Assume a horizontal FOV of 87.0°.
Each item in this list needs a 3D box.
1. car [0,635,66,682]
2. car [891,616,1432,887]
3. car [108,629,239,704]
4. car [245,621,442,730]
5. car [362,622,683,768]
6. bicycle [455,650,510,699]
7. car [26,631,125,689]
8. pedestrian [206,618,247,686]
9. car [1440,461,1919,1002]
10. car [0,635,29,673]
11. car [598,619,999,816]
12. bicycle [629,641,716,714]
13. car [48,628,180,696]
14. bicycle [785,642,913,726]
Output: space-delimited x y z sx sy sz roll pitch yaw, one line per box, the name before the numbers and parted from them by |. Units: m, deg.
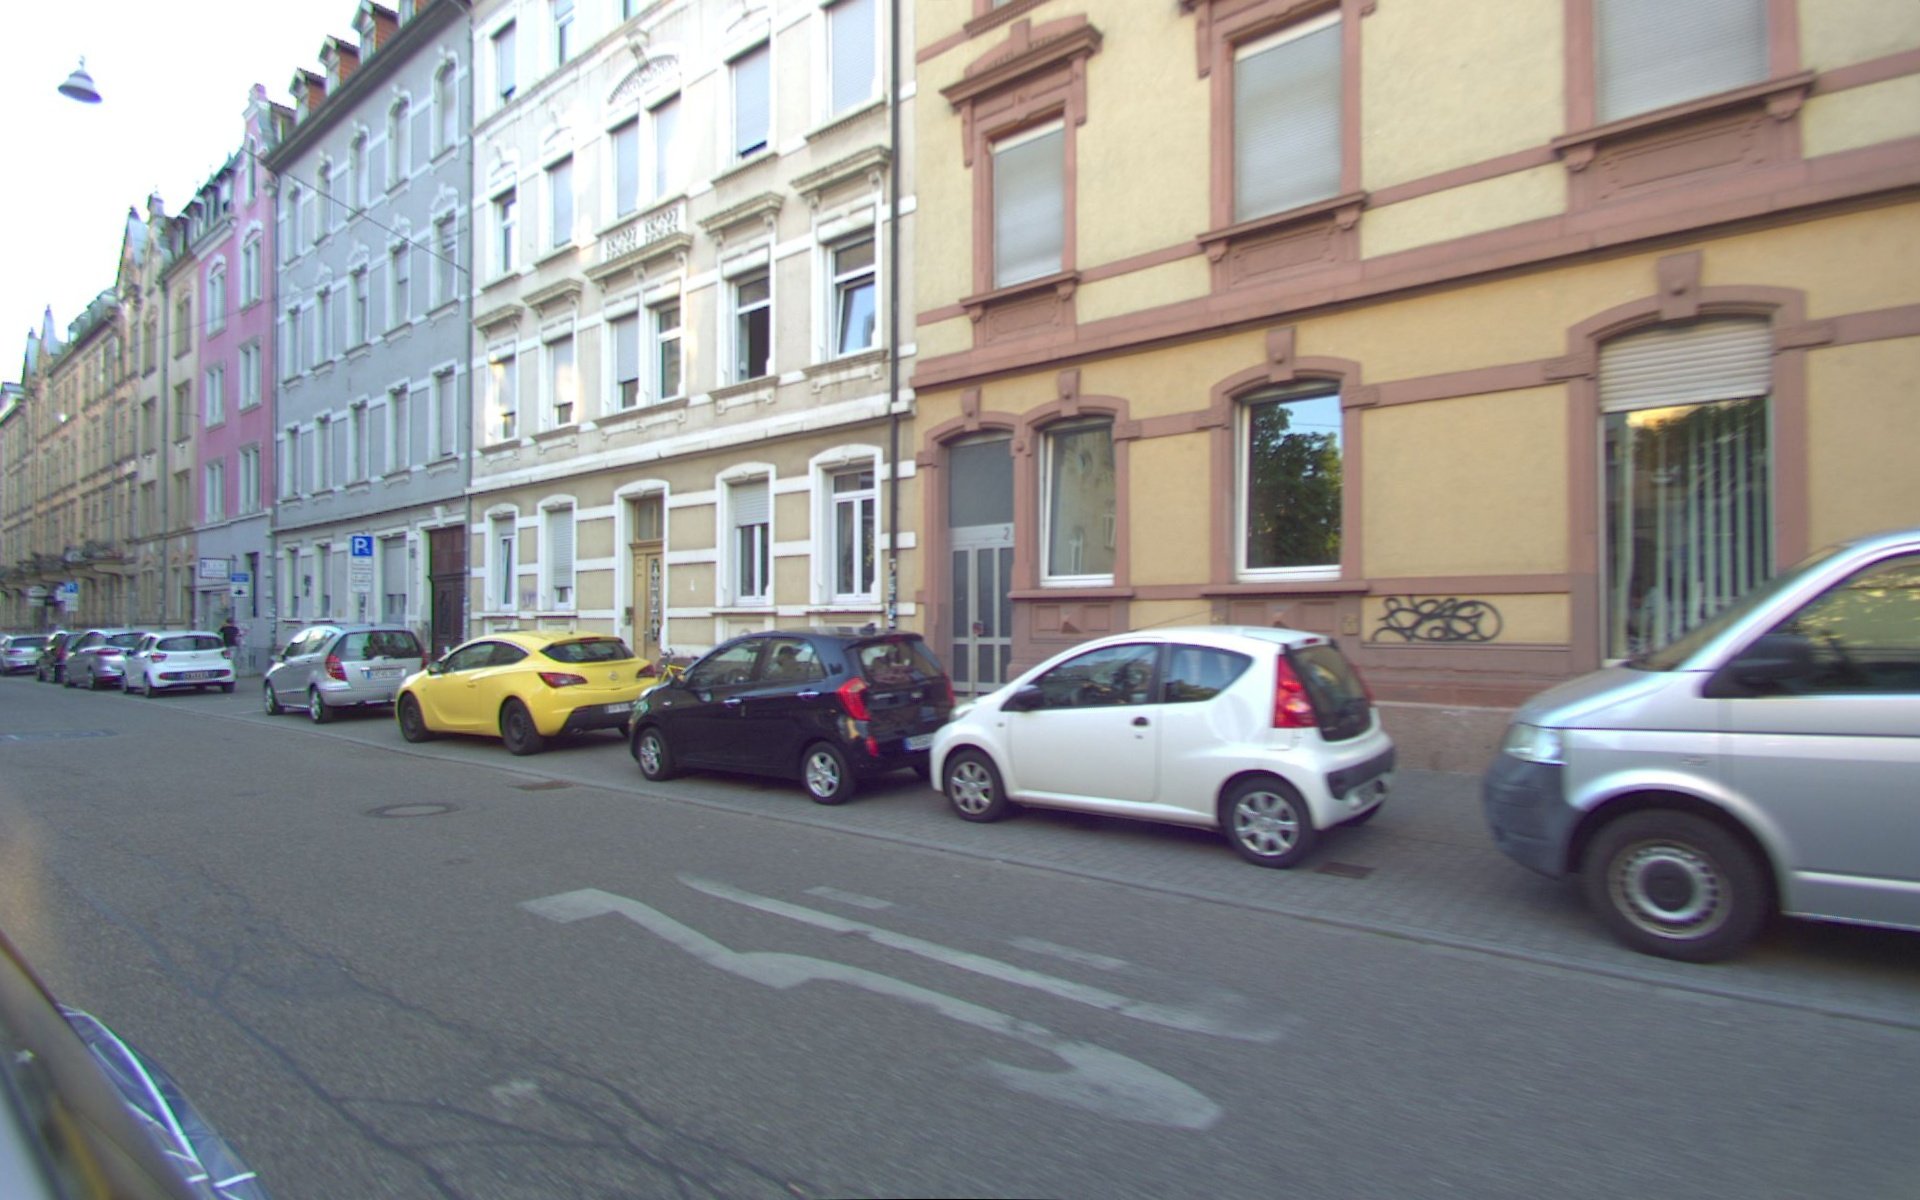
car | -34.983 2.153 37.833 4.055 1.485 1.735 -2 3 42
car | 1.373 0.916 7.587 3.610 1.502 1.667 -2 0 40
car | -19.065 1.540 24.484 3.925 1.588 1.735 -2 0 41
car | -10.795 1.229 17.613 4.144 1.604 1.781 -2 0 42
car | -5.918 1.133 13.398 4.795 1.537 1.821 -2 0 38
bicycle | -10.089 1.567 21.386 1.463 0.984 0.396 -2 -5 38
car | -27.790 1.844 31.769 4.054 1.604 1.735 -2 0 40
pedestrian | -21.608 1.516 29.810 0.834 1.964 0.840 -2 -2 44
car | 4.931 0.469 4.110 5.002 2.072 2.020 -2 0 41
car | -41.848 2.359 43.756 4.276 1.485 1.736 -2 3 40
car | -1.657 0.987 9.826 3.735 1.502 1.713 -2 0 37
bicycle | -4.814 1.265 16.850 1.863 1.149 0.474 -2 -2 42
car | -23.156 1.645 27.630 4.666 1.604 1.815 -2 0 38
bicycle | -1.557 1.124 13.990 1.832 1.078 0.655 -2 -2 38
